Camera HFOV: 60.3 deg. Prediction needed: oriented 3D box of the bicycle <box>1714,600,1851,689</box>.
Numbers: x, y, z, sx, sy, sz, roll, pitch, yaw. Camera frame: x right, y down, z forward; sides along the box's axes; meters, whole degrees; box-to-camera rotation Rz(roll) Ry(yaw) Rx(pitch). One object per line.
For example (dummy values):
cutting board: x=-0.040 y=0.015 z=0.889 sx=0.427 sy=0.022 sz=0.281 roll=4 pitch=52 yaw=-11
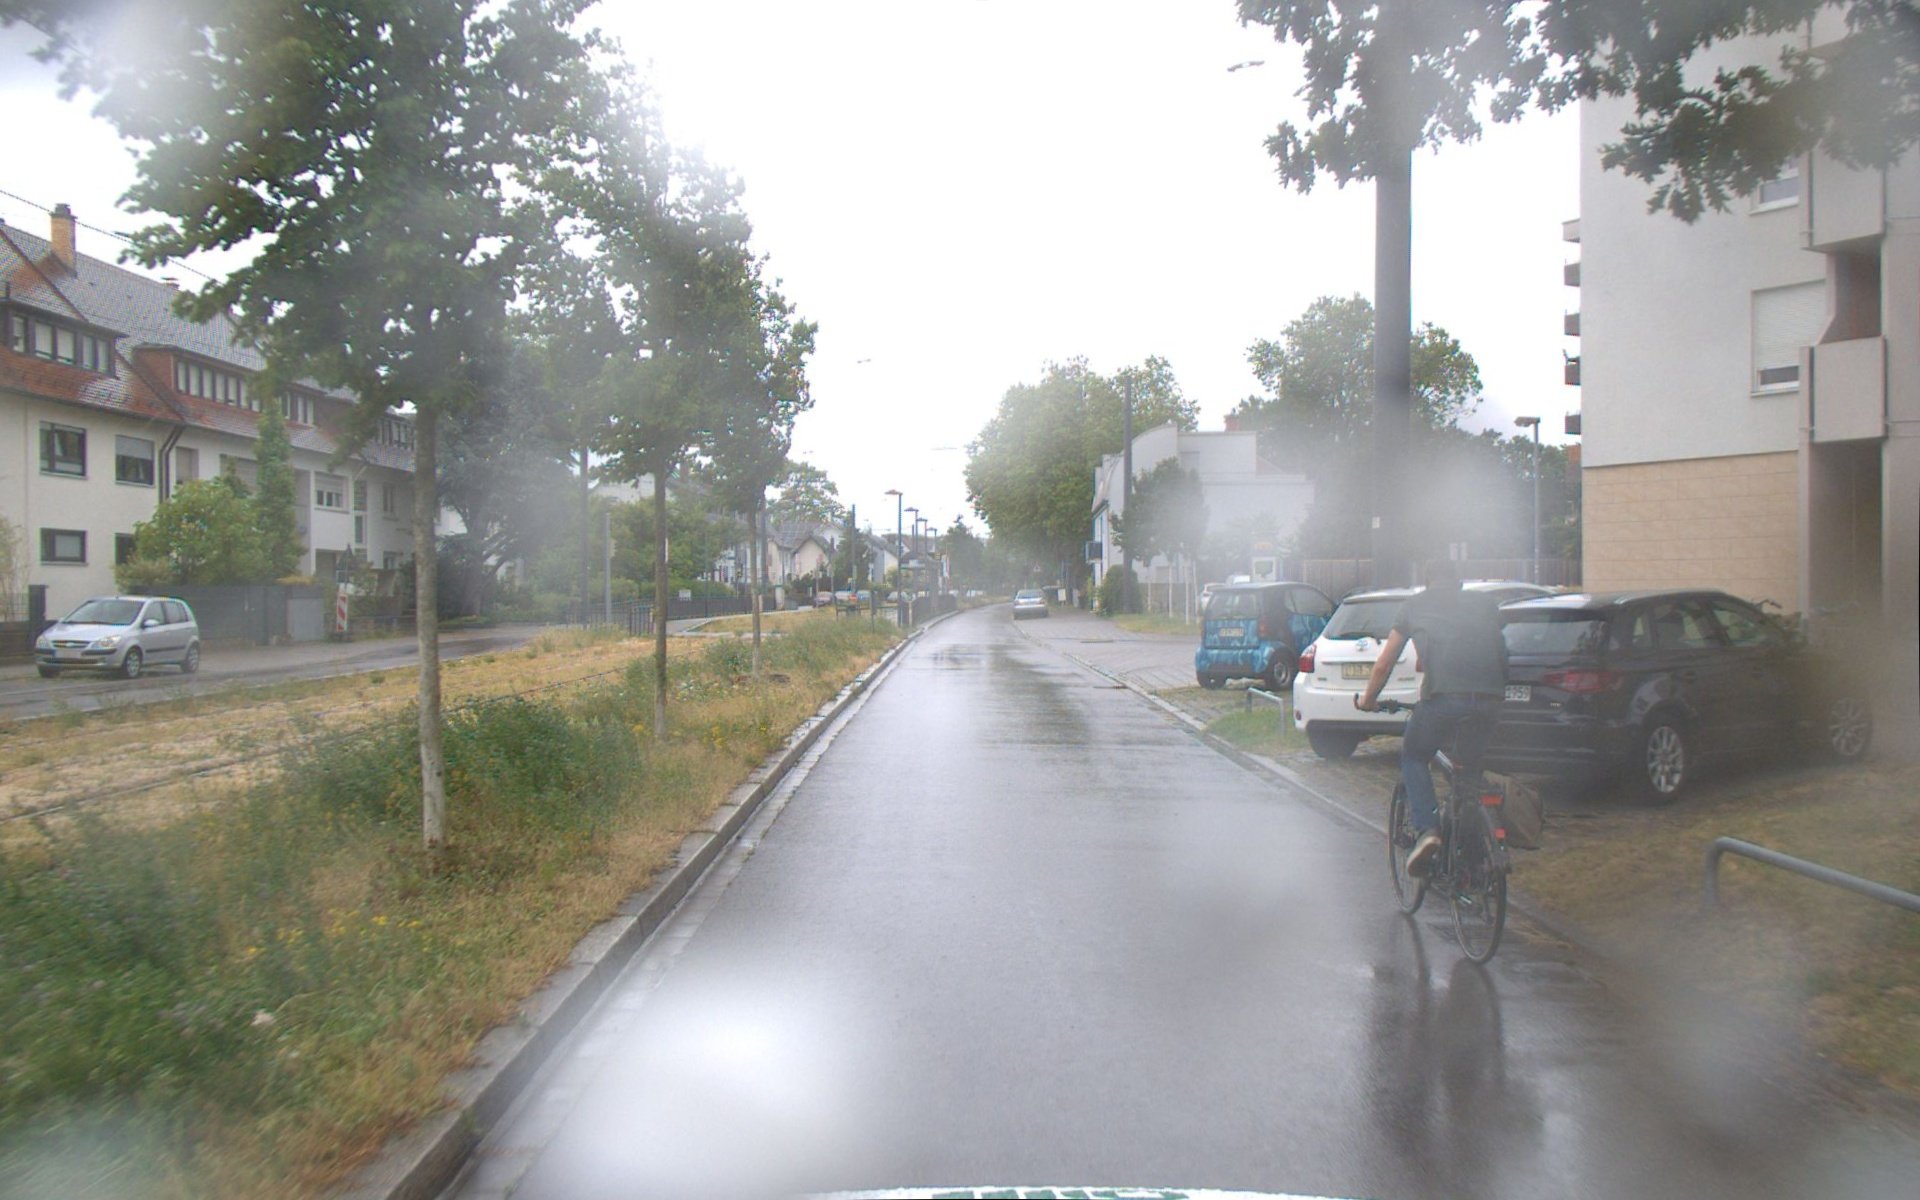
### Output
bicycle: x=9.985 y=0.524 z=20.159 sx=0.648 sy=1.023 sz=2.058 roll=0 pitch=0 yaw=0

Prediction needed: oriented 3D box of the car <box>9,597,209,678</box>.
car: x=-15.975 y=0.681 z=31.272 sx=1.953 sy=1.438 sz=3.657 roll=0 pitch=0 yaw=-2

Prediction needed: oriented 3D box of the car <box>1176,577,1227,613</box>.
car: x=10.935 y=-0.245 z=75.228 sx=1.922 sy=1.561 sz=4.366 roll=0 pitch=1 yaw=3

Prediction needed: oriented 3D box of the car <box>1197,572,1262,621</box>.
car: x=10.273 y=-0.169 z=63.348 sx=1.922 sy=1.815 sz=4.899 roll=0 pitch=1 yaw=3

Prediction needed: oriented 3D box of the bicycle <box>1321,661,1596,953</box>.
bicycle: x=2.227 y=0.870 z=7.647 sx=0.526 sy=1.112 sz=1.946 roll=0 pitch=-1 yaw=-5

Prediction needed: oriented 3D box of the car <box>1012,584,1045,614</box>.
car: x=3.538 y=-0.018 z=85.802 sx=1.616 sy=1.430 sz=4.650 roll=-4 pitch=-1 yaw=2

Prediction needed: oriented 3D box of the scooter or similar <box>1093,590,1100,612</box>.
scooter or similar: x=6.935 y=0.077 z=83.902 sx=0.326 sy=1.104 sz=1.397 roll=0 pitch=-1 yaw=7

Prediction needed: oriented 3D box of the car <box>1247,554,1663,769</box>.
car: x=4.723 y=0.473 z=15.478 sx=4.148 sy=1.574 sz=1.739 roll=-4 pitch=2 yaw=-41

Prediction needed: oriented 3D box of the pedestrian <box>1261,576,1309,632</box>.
pedestrian: x=9.128 y=0.116 z=46.428 sx=0.826 sy=1.544 sz=1.084 roll=1 pitch=-1 yaw=-29

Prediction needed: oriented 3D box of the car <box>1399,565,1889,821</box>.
car: x=5.222 y=0.575 z=12.431 sx=3.904 sy=1.456 sz=1.662 roll=-4 pitch=2 yaw=-38

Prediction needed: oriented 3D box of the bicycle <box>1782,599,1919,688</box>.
bicycle: x=10.837 y=0.506 z=20.144 sx=0.648 sy=1.023 sz=2.058 roll=0 pitch=0 yaw=0

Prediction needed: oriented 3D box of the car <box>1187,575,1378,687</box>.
car: x=4.860 y=0.440 z=24.831 sx=2.541 sy=1.575 sz=1.579 roll=-1 pitch=0 yaw=-40

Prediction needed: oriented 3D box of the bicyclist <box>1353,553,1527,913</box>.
bicyclist: x=2.221 y=0.590 z=7.710 sx=0.524 sy=1.587 sz=0.771 roll=0 pitch=-1 yaw=-7

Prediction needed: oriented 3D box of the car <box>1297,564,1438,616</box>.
car: x=12.037 y=-0.274 z=49.046 sx=1.970 sy=1.466 sz=3.964 roll=1 pitch=-1 yaw=-27

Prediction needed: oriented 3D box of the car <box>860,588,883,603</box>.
car: x=-9.557 y=-0.473 z=178.494 sx=1.888 sy=1.512 sz=4.002 roll=0 pitch=0 yaw=5

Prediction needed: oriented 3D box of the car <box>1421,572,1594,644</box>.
car: x=13.352 y=0.192 z=40.304 sx=4.057 sy=1.645 sz=1.797 roll=1 pitch=1 yaw=-31
